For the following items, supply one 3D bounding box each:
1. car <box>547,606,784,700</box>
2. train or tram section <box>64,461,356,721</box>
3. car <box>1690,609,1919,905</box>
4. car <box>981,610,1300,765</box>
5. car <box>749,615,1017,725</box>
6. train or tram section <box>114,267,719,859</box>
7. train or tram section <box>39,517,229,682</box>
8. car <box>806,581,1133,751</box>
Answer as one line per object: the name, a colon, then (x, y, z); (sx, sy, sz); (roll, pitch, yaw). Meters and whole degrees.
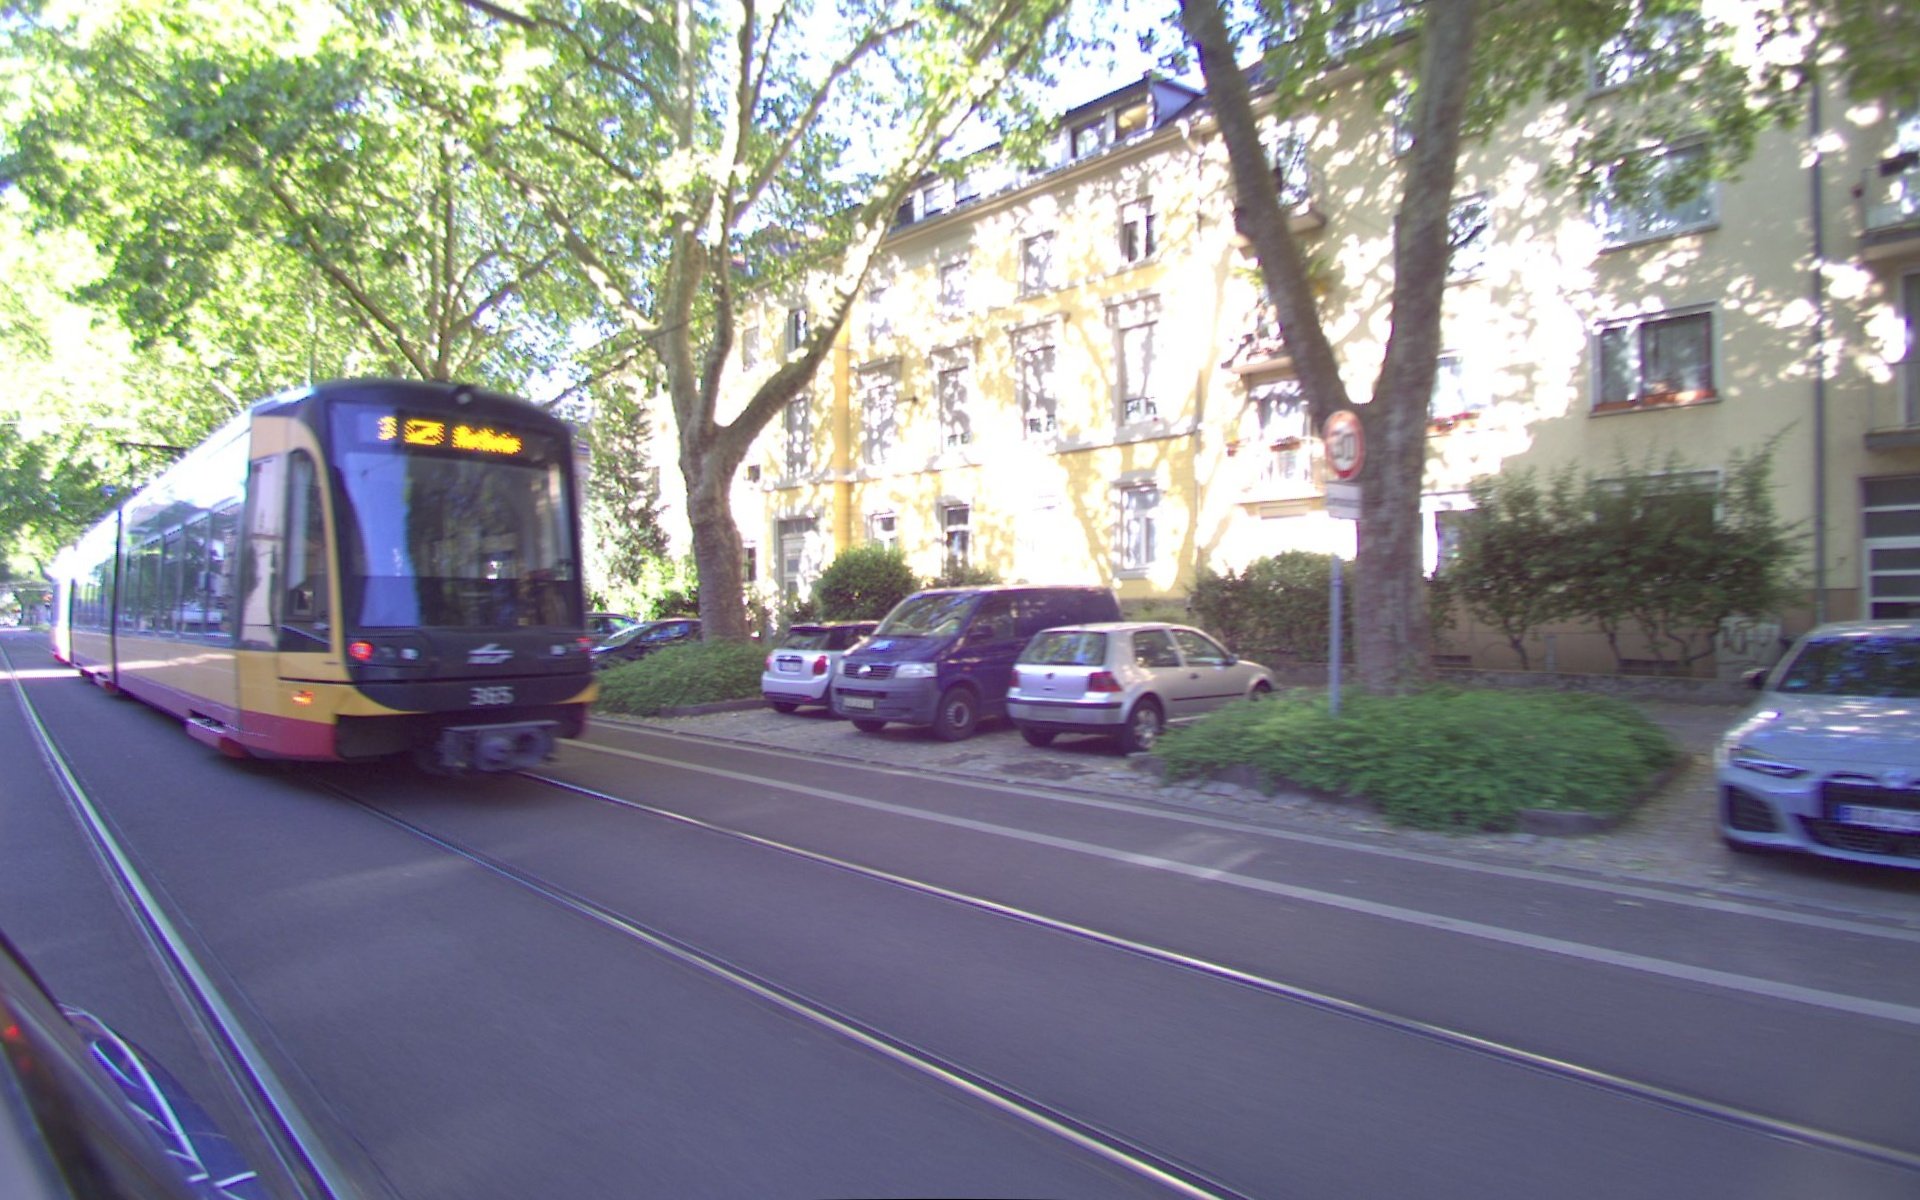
car: (-6.063, 1.030, 21.187); (2.001, 1.625, 4.306); (-2, 0, 44)
train or tram section: (-14.708, -0.121, 19.266); (2.903, 3.646, 11.267); (-2, 1, -44)
car: (6.929, 0.868, 7.194); (4.874, 1.456, 2.001); (-2, 0, -45)
car: (2.325, 0.928, 12.370); (1.870, 1.456, 4.012); (-2, 0, 44)
car: (-1.132, 1.039, 16.524); (1.658, 1.418, 4.306); (-2, 0, 44)
train or tram section: (-6.903, -0.218, 11.226); (2.903, 3.646, 11.070); (-2, 1, -44)
train or tram section: (-22.978, -0.003, 27.764); (2.903, 3.646, 12.419); (-2, 1, -44)
car: (0.294, 0.754, 14.043); (1.922, 1.922, 4.577); (-2, 0, 43)
